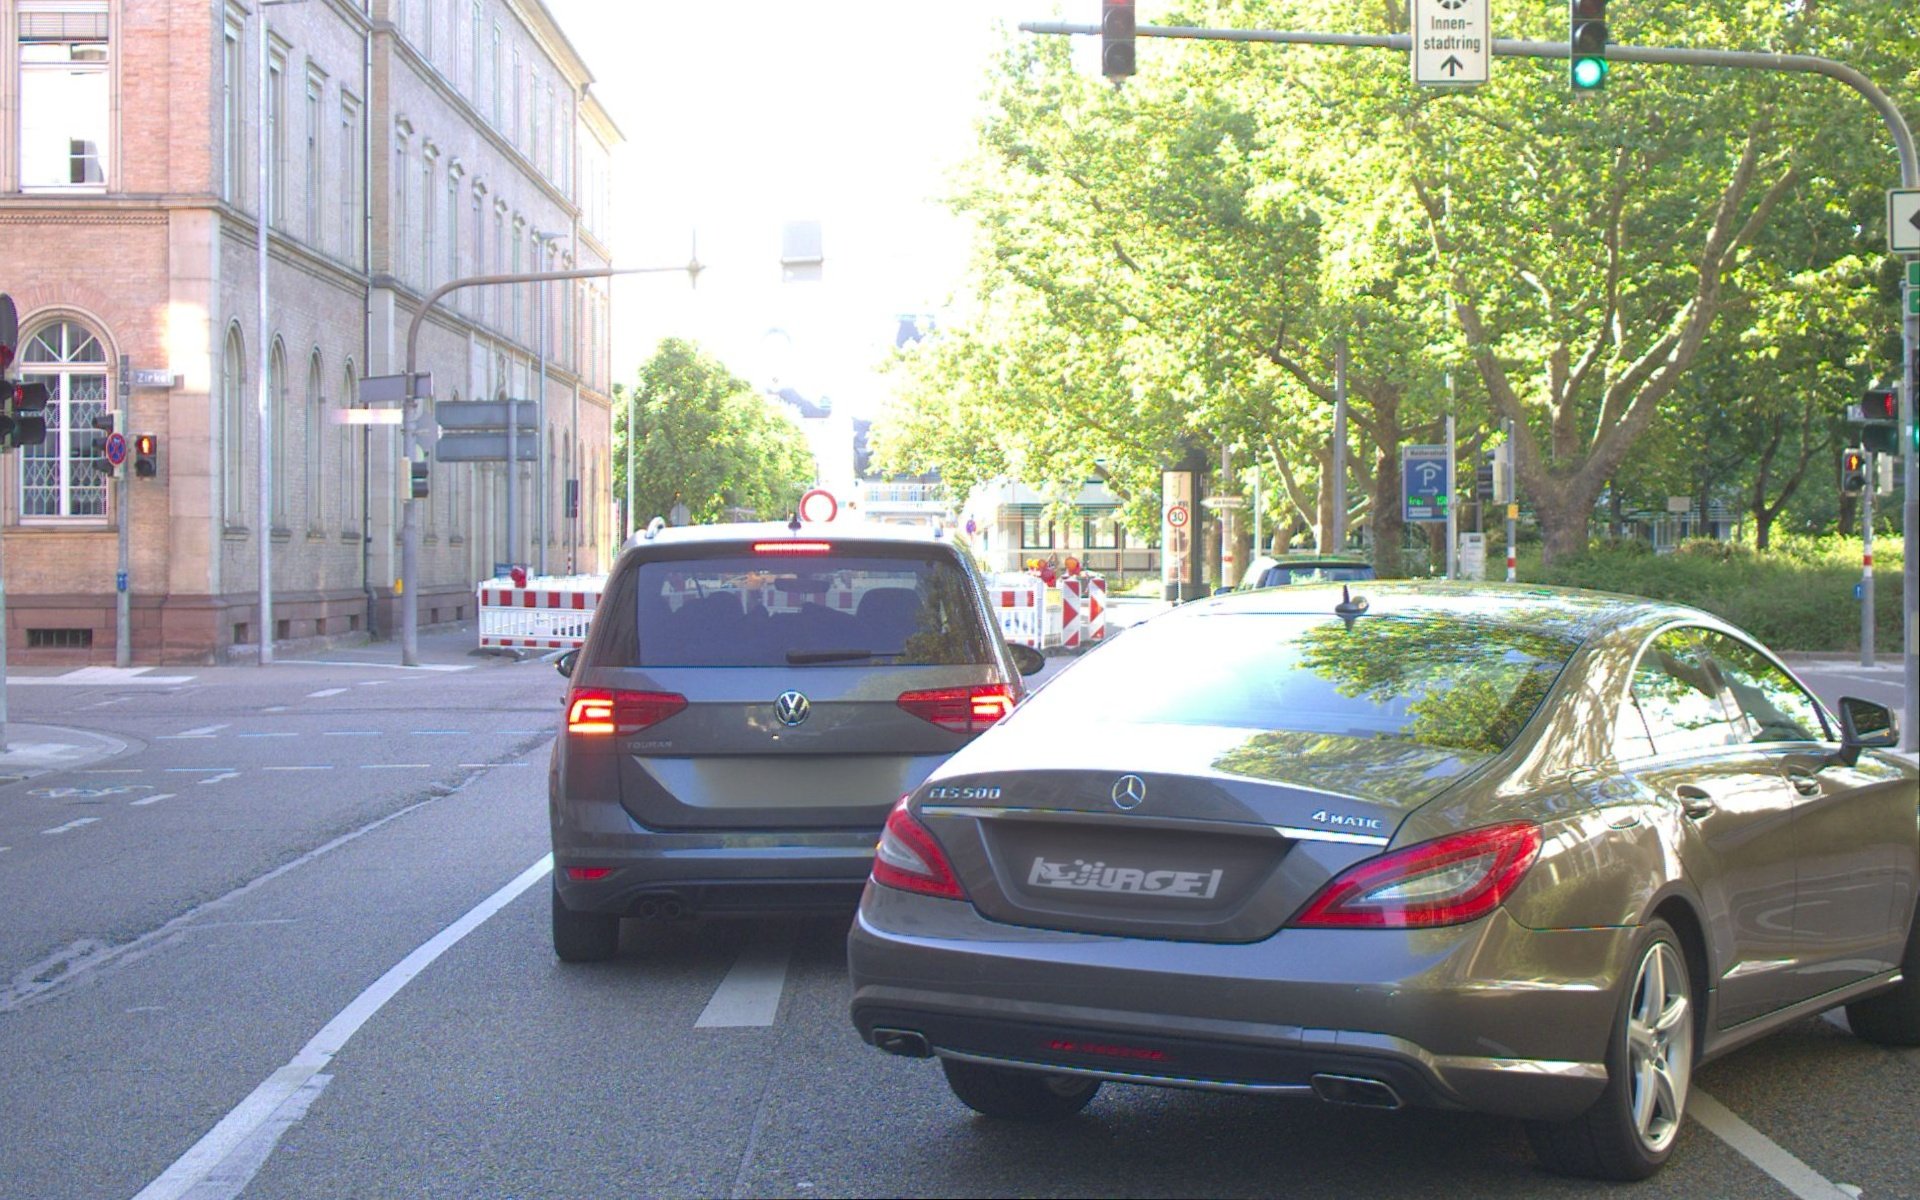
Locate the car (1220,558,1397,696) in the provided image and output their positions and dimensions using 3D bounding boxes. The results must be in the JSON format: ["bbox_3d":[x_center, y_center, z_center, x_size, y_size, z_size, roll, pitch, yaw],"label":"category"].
[{"bbox_3d":[3.837,0.271,38.362,1.689,1.435,3.902,1,0,2],"label":"car"}]

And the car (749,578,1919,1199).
[{"bbox_3d":[1.422,0.671,9.550,1.846,1.424,4.510,1,1,29],"label":"car"}]

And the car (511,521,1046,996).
[{"bbox_3d":[-0.582,0.521,13.670,1.809,1.607,4.000,0,1,1],"label":"car"}]
